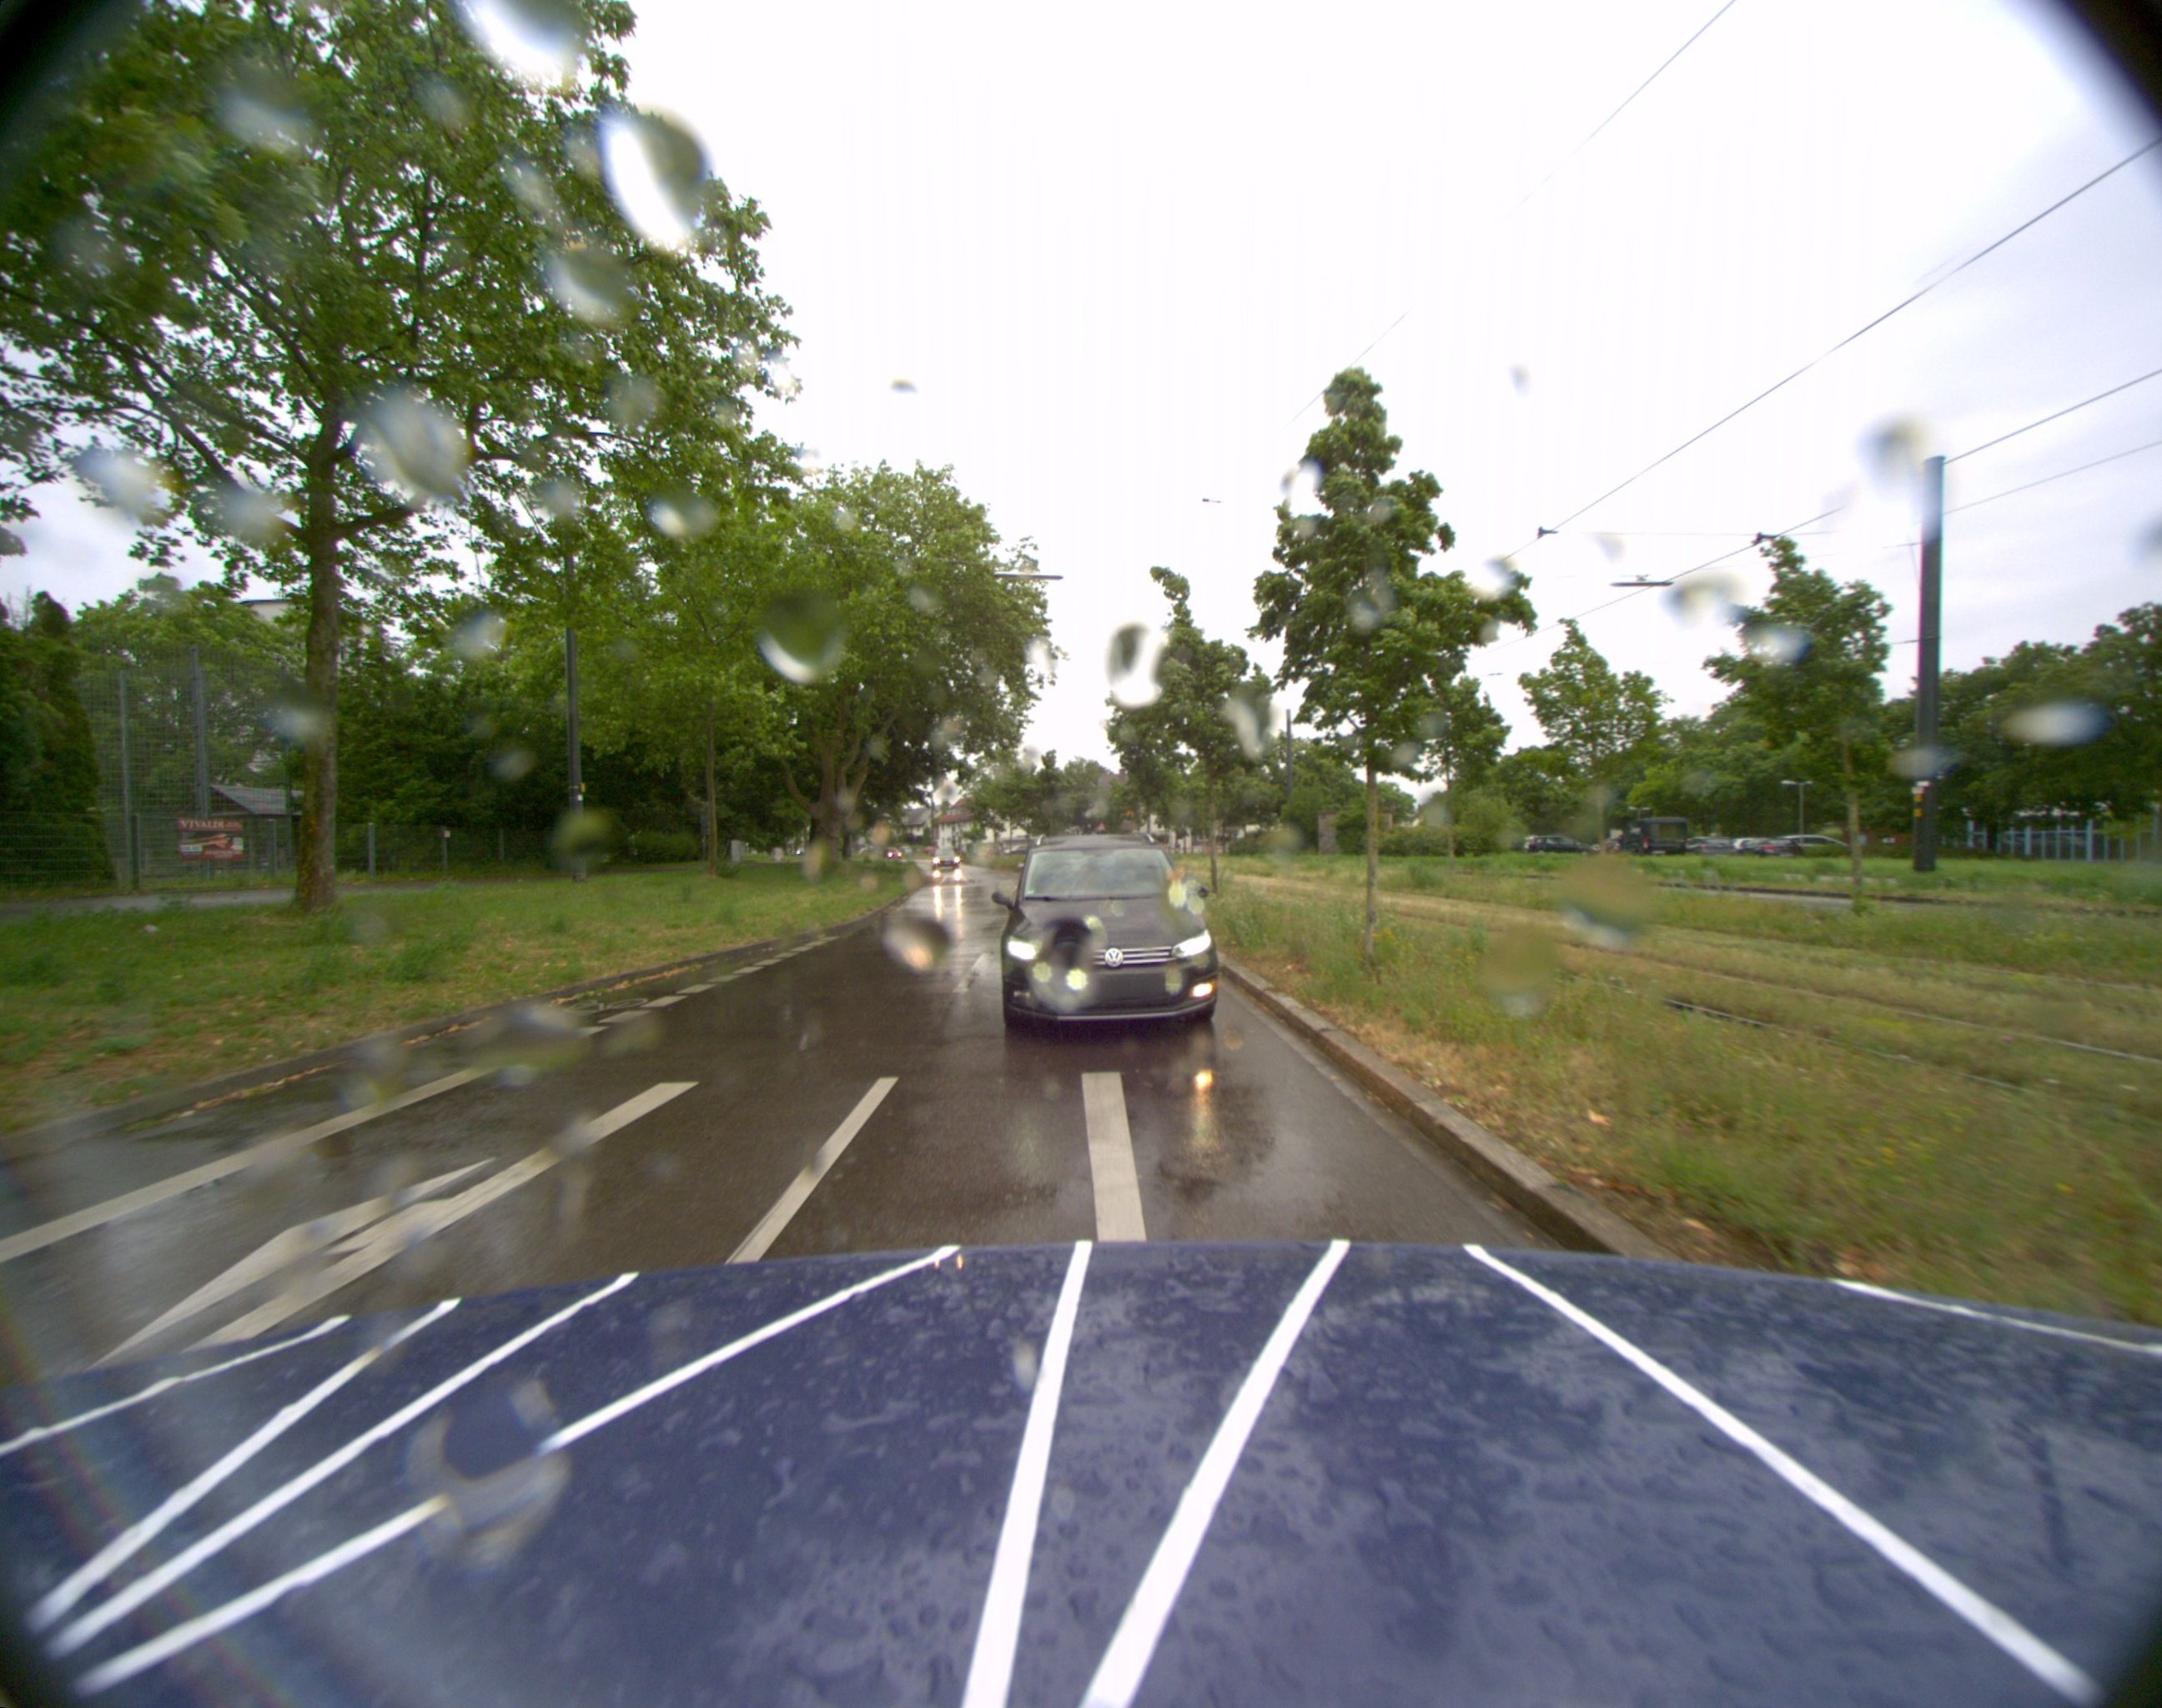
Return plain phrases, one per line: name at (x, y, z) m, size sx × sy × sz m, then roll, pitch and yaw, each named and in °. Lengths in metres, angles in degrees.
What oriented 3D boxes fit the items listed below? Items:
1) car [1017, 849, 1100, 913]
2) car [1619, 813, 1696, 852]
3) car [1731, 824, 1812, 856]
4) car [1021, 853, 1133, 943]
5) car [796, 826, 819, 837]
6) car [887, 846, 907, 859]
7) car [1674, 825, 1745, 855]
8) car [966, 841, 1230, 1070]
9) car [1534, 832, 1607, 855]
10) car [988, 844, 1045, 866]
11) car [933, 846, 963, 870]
car at (-0.678, 0.616, 19.621) m, size 1.789 × 1.396 × 3.791 m, roll -2°, pitch 1°, yaw -7°
car at (31.900, -1.202, 42.209) m, size 2.307 × 2.002 × 5.125 m, roll -1°, pitch 1°, yaw 24°
car at (36.787, -0.800, 40.645) m, size 2.057 × 1.564 × 5.024 m, roll -1°, pitch 1°, yaw 29°
car at (-0.137, 0.727, 14.537) m, size 1.788 × 1.355 × 3.996 m, roll -2°, pitch 1°, yaw -2°
car at (-52.249, -4.308, 145.150) m, size 4.004 × 1.816 × 1.996 m, roll -3°, pitch 2°, yaw -24°
car at (-21.849, -0.185, 90.061) m, size 1.791 × 1.373 × 3.858 m, roll -3°, pitch 1°, yaw -19°
car at (34.542, -0.798, 41.902) m, size 1.752 × 1.522 × 4.856 m, roll -1°, pitch 1°, yaw 24°
car at (0.144, 0.704, 7.791) m, size 1.866 × 1.592 × 4.524 m, roll -2°, pitch 1°, yaw 0°
car at (34.890, -0.716, 54.284) m, size 4.172 × 1.474 × 1.786 m, roll -1°, pitch 2°, yaw 27°
car at (-4.773, 0.065, 56.018) m, size 4.046 × 1.412 × 1.673 m, roll -2°, pitch 1°, yaw -10°
car at (-9.564, 0.264, 54.501) m, size 1.874 × 1.609 × 3.804 m, roll -2°, pitch 1°, yaw -13°
